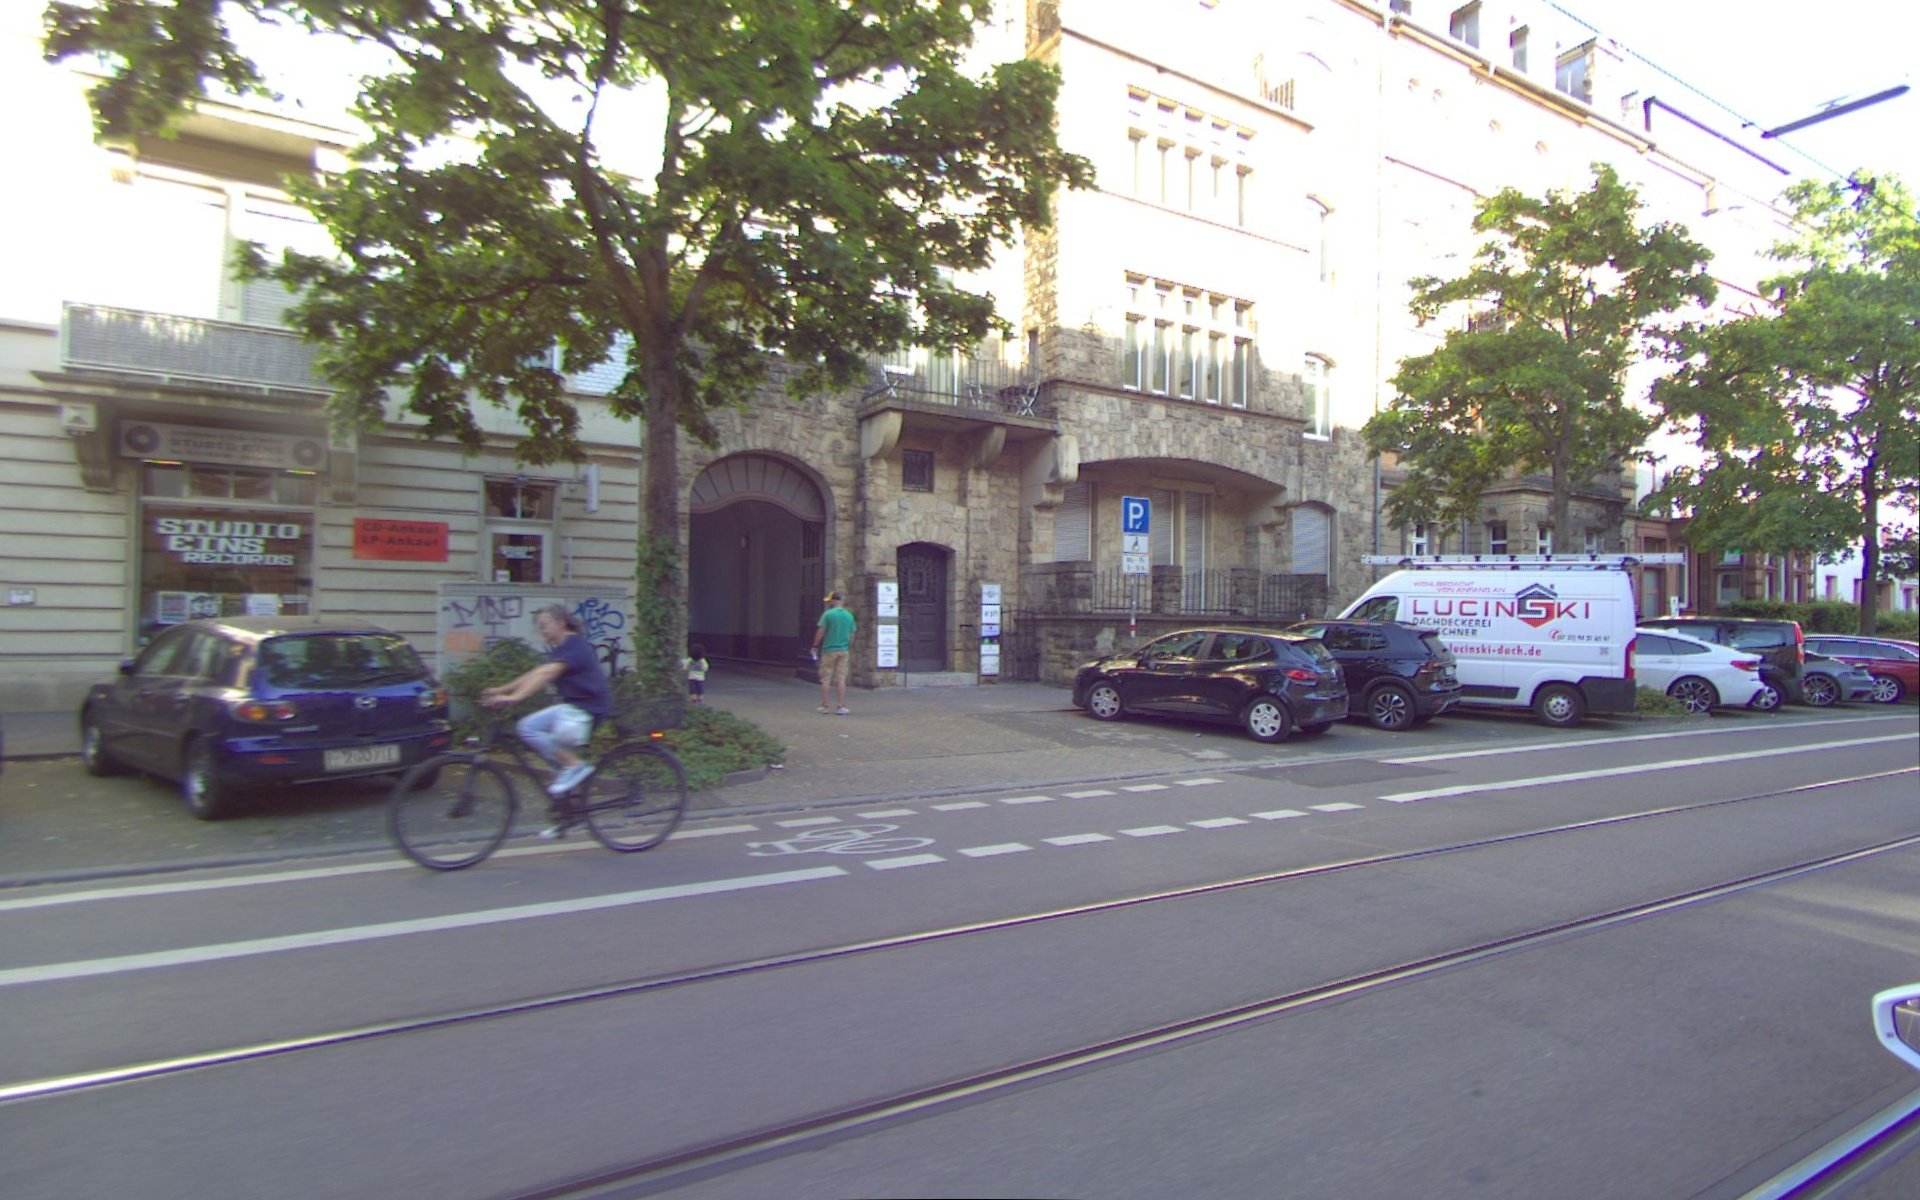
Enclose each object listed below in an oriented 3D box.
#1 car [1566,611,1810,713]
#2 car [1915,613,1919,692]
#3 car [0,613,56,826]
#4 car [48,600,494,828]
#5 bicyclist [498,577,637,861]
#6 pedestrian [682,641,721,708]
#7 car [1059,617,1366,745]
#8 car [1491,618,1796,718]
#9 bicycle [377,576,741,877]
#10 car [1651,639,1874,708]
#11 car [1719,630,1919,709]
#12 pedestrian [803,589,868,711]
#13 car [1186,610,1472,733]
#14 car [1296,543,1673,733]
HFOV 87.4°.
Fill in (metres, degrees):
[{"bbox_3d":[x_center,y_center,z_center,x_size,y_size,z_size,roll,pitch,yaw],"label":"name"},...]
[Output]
[{"bbox_3d":[14.951,1.208,20.861,3.934,1.841,1.707,1,-1,35],"label":"car"},{"bbox_3d":[26.939,1.417,26.260,5.185,1.999,1.737,2,-1,-34],"label":"car"},{"bbox_3d":[-8.856,0.816,7.557,3.927,1.509,1.804,1,-1,28],"label":"car"},{"bbox_3d":[-6.060,0.802,8.743,3.931,1.509,1.802,1,-1,33],"label":"car"},{"bbox_3d":[-2.541,0.723,6.485,0.718,1.704,0.631,2,0,-30],"label":"bicyclist"},{"bbox_3d":[-3.716,1.068,14.434,0.454,0.934,0.352,2,0,-31],"label":"pedestrian"},{"bbox_3d":[3.552,1.055,14.568,3.945,1.509,1.795,1,-1,44],"label":"car"},{"bbox_3d":[12.930,1.225,19.418,4.684,1.639,1.710,1,-1,28],"label":"car"},{"bbox_3d":[-2.544,0.741,6.495,2.072,1.701,0.677,2,0,-30],"label":"bicycle"},{"bbox_3d":[17.693,1.576,22.381,3.746,1.282,1.511,1,-1,35],"label":"car"},{"bbox_3d":[20.414,1.584,23.919,3.678,1.644,1.781,1,-1,39],"label":"car"},{"bbox_3d":[-1.848,0.723,14.854,0.753,1.749,0.575,2,0,-31],"label":"pedestrian"},{"bbox_3d":[5.782,1.035,15.900,3.934,1.639,1.707,1,-1,35],"label":"car"},{"bbox_3d":[8.587,0.531,16.843,5.293,2.785,1.802,1,0,31],"label":"car"}]
